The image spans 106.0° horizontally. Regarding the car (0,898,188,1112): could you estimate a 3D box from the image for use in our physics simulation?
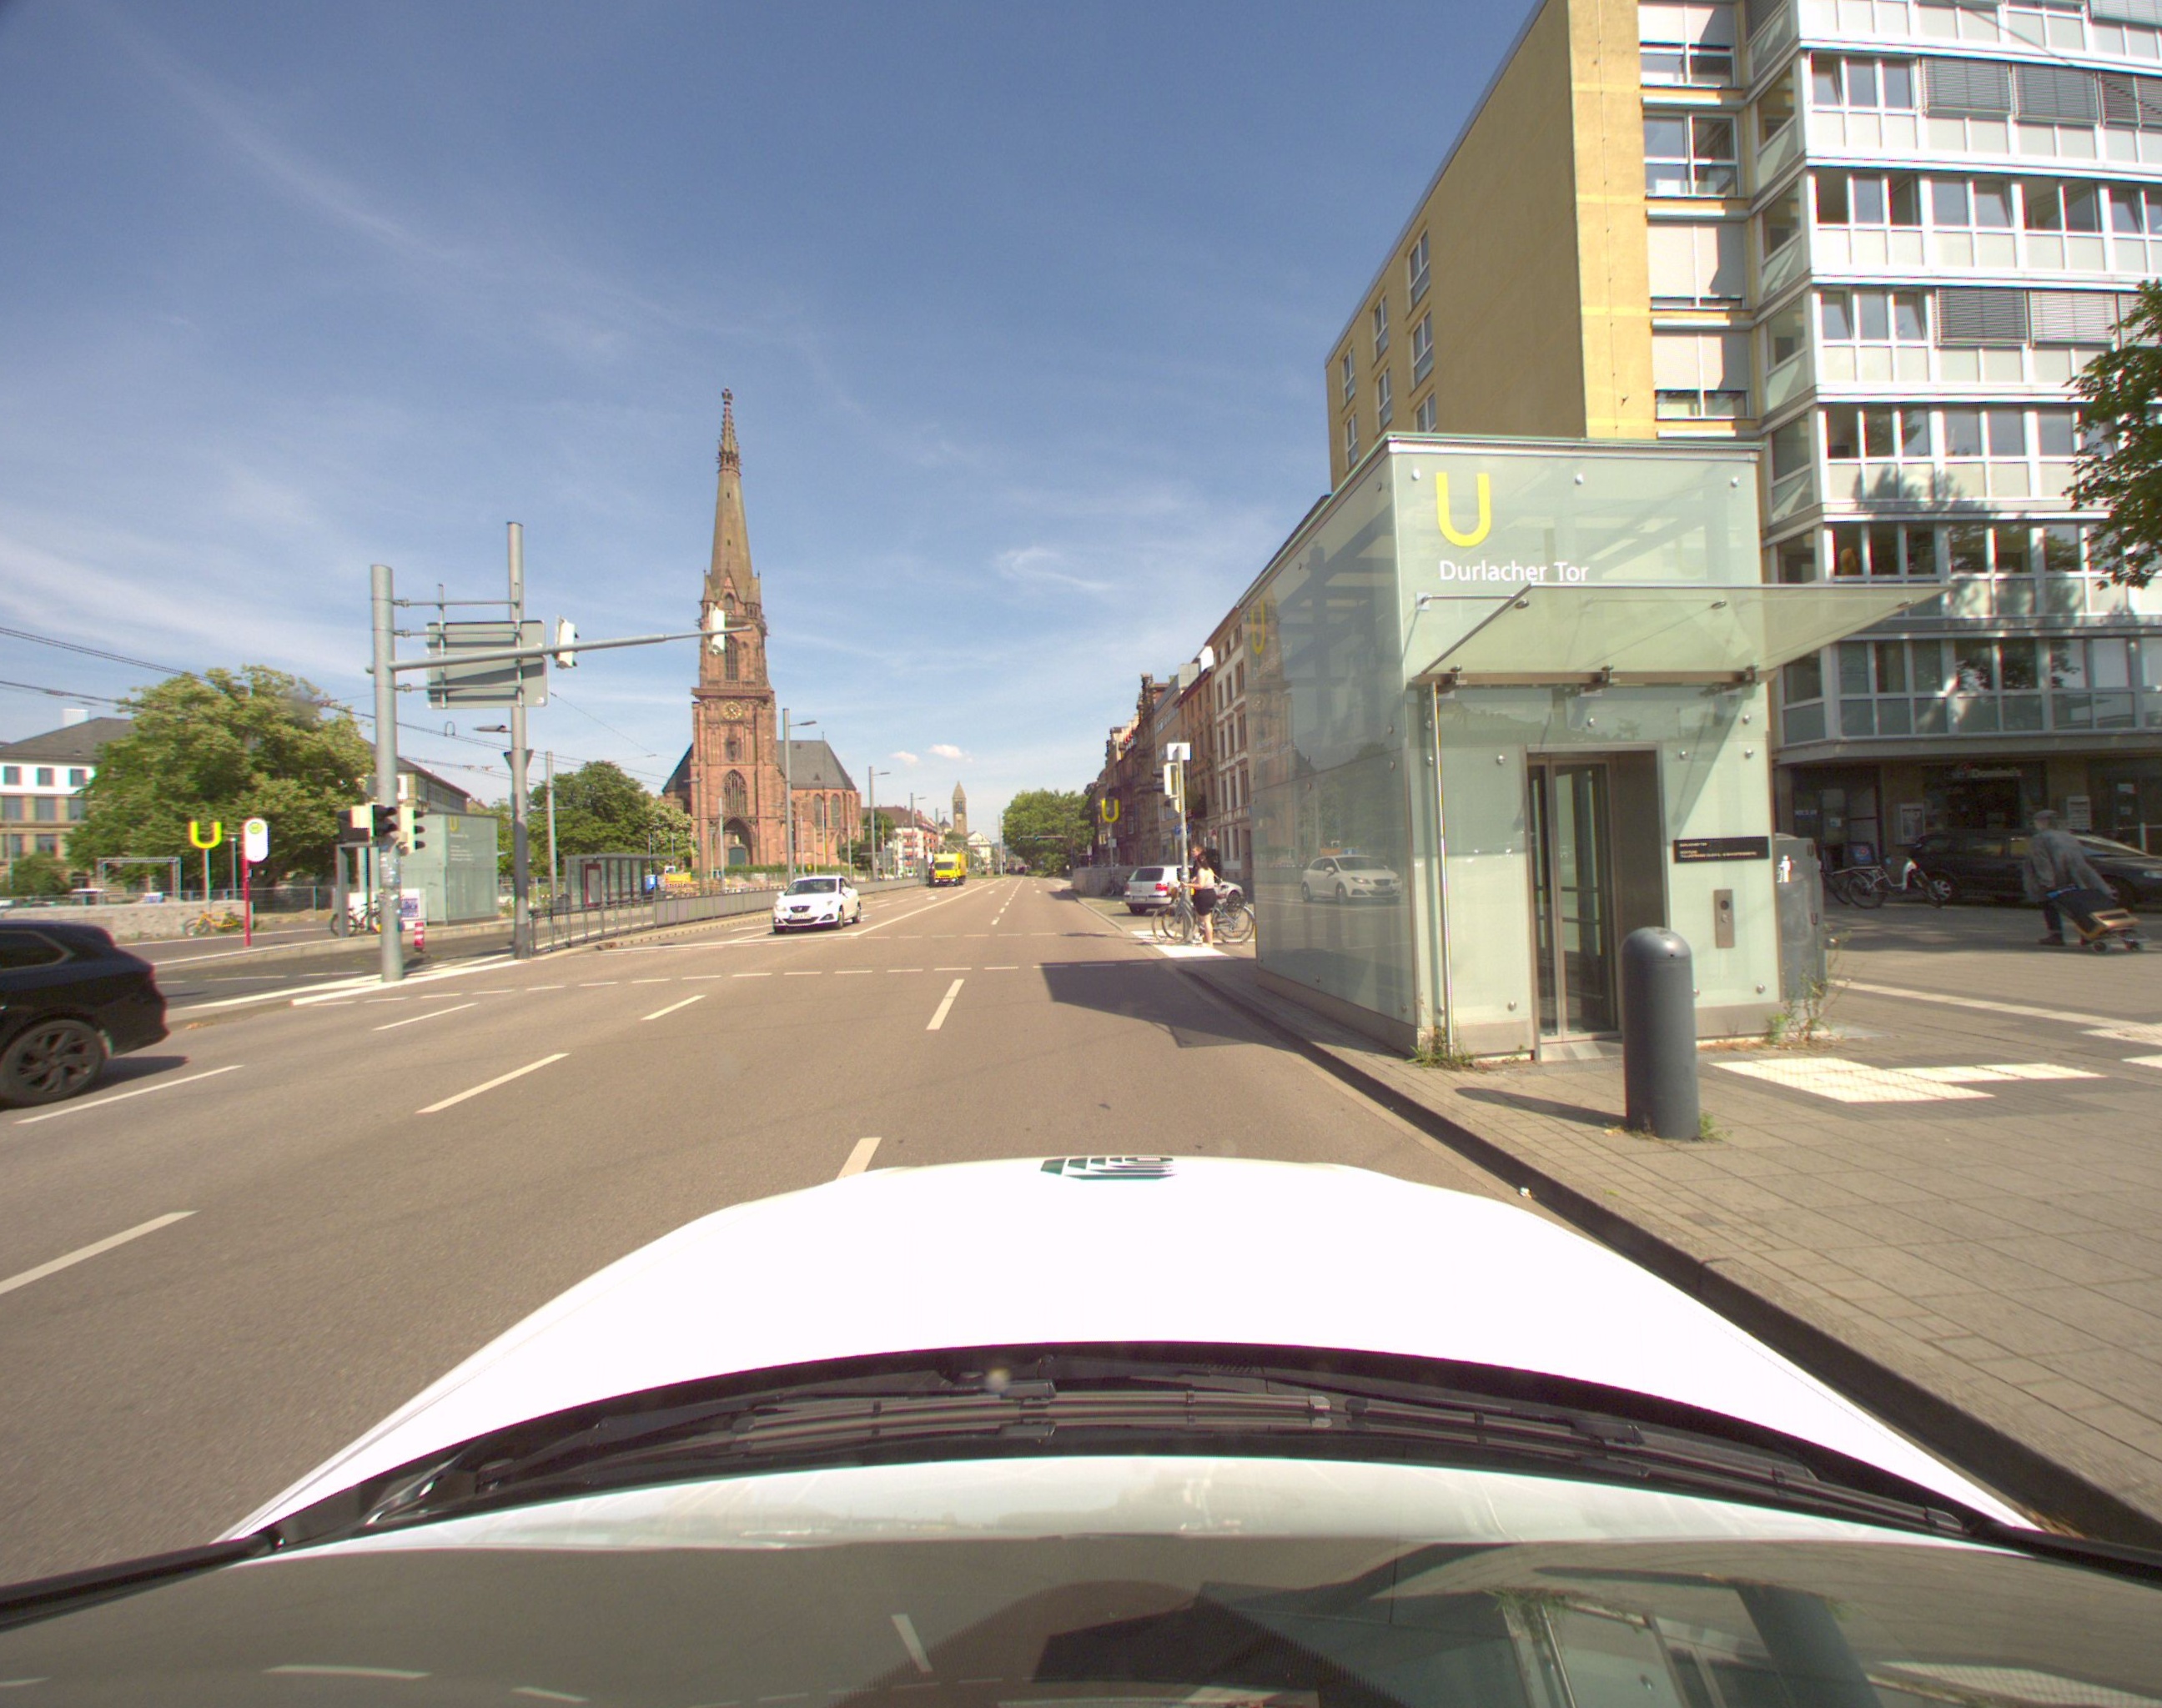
[{"bbox_3d":[-8.566,1.144,4.764,1.749,1.456,4.422,-3,0,0],"label":"car"}]

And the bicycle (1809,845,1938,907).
[{"bbox_3d":[15.186,0.417,15.645,1.742,1.086,0.585,-3,-1,6],"label":"bicycle"}]

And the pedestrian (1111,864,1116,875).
[{"bbox_3d":[4.367,2.018,108.334,0.532,1.407,0.489,-2,1,-10],"label":"pedestrian"}]

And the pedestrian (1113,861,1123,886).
[{"bbox_3d":[2.460,1.288,54.382,0.551,1.665,0.524,-2,-1,-4],"label":"pedestrian"}]

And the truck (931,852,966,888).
[{"bbox_3d":[-13.550,1.690,83.733,2.539,3.298,9.013,-5,-1,-4],"label":"truck"}]

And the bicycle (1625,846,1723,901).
[{"bbox_3d":[13.836,0.455,19.012,1.879,1.186,0.541,-3,-1,-2],"label":"bicycle"}]

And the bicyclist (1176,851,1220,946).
[{"bbox_3d":[1.995,0.744,13.845,0.606,1.572,0.736,-2,-2,14],"label":"bicyclist"}]

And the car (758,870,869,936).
[{"bbox_3d":[-7.036,1.223,21.875,1.751,1.398,4.118,-6,0,-4],"label":"car"}]

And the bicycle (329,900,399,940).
[{"bbox_3d":[-22.803,2.090,25.936,0.409,1.070,1.670,-3,1,15],"label":"bicycle"}]

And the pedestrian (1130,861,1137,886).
[{"bbox_3d":[3.494,1.319,54.299,0.370,1.665,0.524,-2,-1,-4],"label":"pedestrian"}]

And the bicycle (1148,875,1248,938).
[{"bbox_3d":[2.236,0.991,15.652,1.791,1.130,0.582,-1,-1,-11],"label":"bicycle"}]

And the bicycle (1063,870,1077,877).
[{"bbox_3d":[-1.455,2.677,110.012,1.824,0.863,0.480,-2,1,-20],"label":"bicycle"}]

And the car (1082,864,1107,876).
[{"bbox_3d":[2.252,2.725,137.437,3.977,1.749,1.999,-2,1,-3],"label":"car"}]

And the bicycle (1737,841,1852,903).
[{"bbox_3d":[14.765,0.378,16.888,1.742,1.219,0.585,-2,-1,6],"label":"bicycle"}]

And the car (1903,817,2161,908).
[{"bbox_3d":[18.249,0.170,15.165,1.650,1.470,4.088,1,-1,-3],"label":"car"}]

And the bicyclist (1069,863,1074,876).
[{"bbox_3d":[-1.275,2.090,110.070,0.641,1.591,0.480,-2,1,-19],"label":"bicyclist"}]

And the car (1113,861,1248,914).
[{"bbox_3d":[2.996,0.940,24.073,4.022,1.440,1.791,1,-2,-43],"label":"car"}]

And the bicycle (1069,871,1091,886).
[{"bbox_3d":[-0.061,1.738,57.313,1.458,0.976,0.415,-2,1,-5],"label":"bicycle"}]

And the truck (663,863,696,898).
[{"bbox_3d":[-43.926,2.905,89.086,3.035,3.569,5.990,-2,-1,-26],"label":"truck"}]

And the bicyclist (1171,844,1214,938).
[{"bbox_3d":[2.120,0.690,15.512,0.616,1.735,0.582,-1,-2,-10],"label":"bicyclist"}]

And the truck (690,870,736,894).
[{"bbox_3d":[-45.105,3.409,99.923,4.384,2.678,2.385,-2,-1,0],"label":"truck"}]

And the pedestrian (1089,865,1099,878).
[{"bbox_3d":[1.360,1.800,85.145,0.946,1.325,0.821,-2,-1,-7],"label":"pedestrian"}]

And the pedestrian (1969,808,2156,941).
[{"bbox_3d":[10.978,0.238,9.162,0.654,1.404,1.115,0,-3,-6],"label":"pedestrian"}]

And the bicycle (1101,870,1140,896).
[{"bbox_3d":[1.838,1.327,37.796,1.739,1.094,0.596,-2,0,-5],"label":"bicycle"}]

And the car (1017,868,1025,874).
[{"bbox_3d":[-15.993,4.493,216.532,1.897,1.376,3.807,-2,-1,-6],"label":"car"}]

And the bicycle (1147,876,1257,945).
[{"bbox_3d":[2.105,0.968,14.123,1.778,1.130,0.757,-2,-1,13],"label":"bicycle"}]
